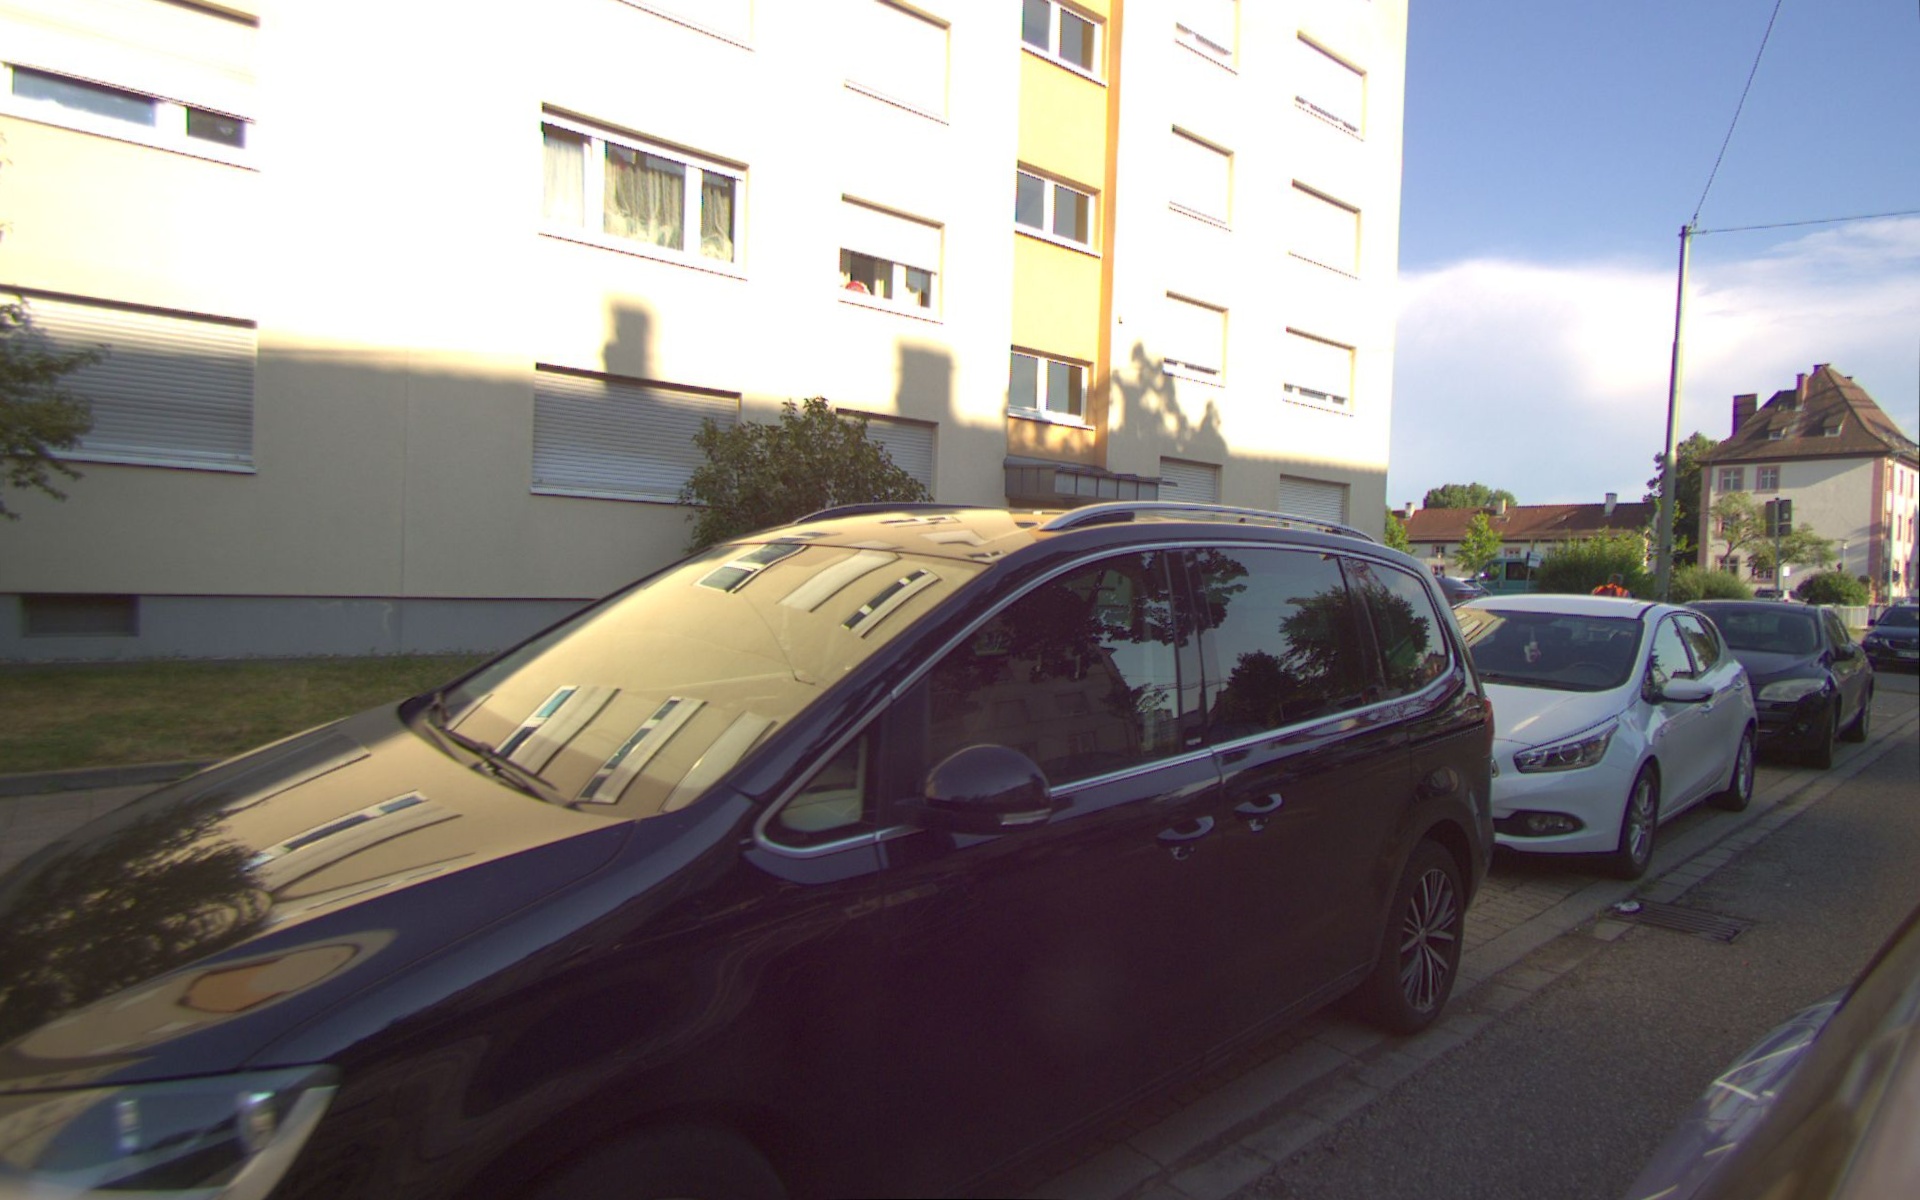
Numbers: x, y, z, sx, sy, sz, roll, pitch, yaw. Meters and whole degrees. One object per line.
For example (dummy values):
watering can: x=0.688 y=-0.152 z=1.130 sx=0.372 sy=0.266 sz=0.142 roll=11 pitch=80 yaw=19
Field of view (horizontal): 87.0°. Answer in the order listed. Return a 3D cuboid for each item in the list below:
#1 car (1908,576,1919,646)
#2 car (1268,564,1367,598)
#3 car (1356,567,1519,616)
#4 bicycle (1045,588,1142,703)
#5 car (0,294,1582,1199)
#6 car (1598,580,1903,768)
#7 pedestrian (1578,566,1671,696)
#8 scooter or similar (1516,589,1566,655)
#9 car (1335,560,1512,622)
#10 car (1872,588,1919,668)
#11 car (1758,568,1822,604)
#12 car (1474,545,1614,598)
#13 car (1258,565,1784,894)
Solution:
car: x=27.214 y=0.355 z=27.056 sx=4.499 sy=1.799 sz=1.909 roll=-1 pitch=8 yaw=-38
car: x=17.817 y=-0.934 z=50.598 sx=1.700 sy=1.622 sz=4.489 roll=-1 pitch=0 yaw=-37
car: x=15.318 y=-0.264 z=32.653 sx=1.700 sy=1.473 sz=4.489 roll=-1 pitch=1 yaw=-37
bicycle: x=1.489 y=0.480 z=11.227 sx=1.218 sy=1.207 sz=0.334 roll=-1 pitch=1 yaw=-40
car: x=0.015 y=0.453 z=3.031 sx=4.566 sy=1.697 sz=1.776 roll=-1 pitch=5 yaw=-41
car: x=8.408 y=0.570 z=10.592 sx=4.544 sy=1.525 sz=1.801 roll=-1 pitch=2 yaw=-43
pedestrian: x=10.318 y=0.451 z=15.704 sx=1.257 sy=1.914 sz=0.890 roll=-1 pitch=0 yaw=-41
scooter or similar: x=11.276 y=0.410 z=19.625 sx=1.219 sy=1.205 sz=0.334 roll=-1 pitch=7 yaw=-41
car: x=13.637 y=-0.336 z=30.010 sx=1.700 sy=1.621 sz=4.491 roll=-1 pitch=3 yaw=-37
car: x=21.553 y=0.568 z=22.158 sx=4.863 sy=1.580 sz=1.889 roll=-1 pitch=3 yaw=-43
car: x=40.851 y=-0.705 z=49.761 sx=3.928 sy=1.683 sz=1.656 roll=-1 pitch=0 yaw=-39
car: x=21.148 y=-0.998 z=36.749 sx=1.965 sy=1.816 sz=3.995 roll=-1 pitch=0 yaw=-40
car: x=3.855 y=0.581 z=6.669 sx=3.930 sy=1.527 sz=1.774 roll=-1 pitch=0 yaw=-41
